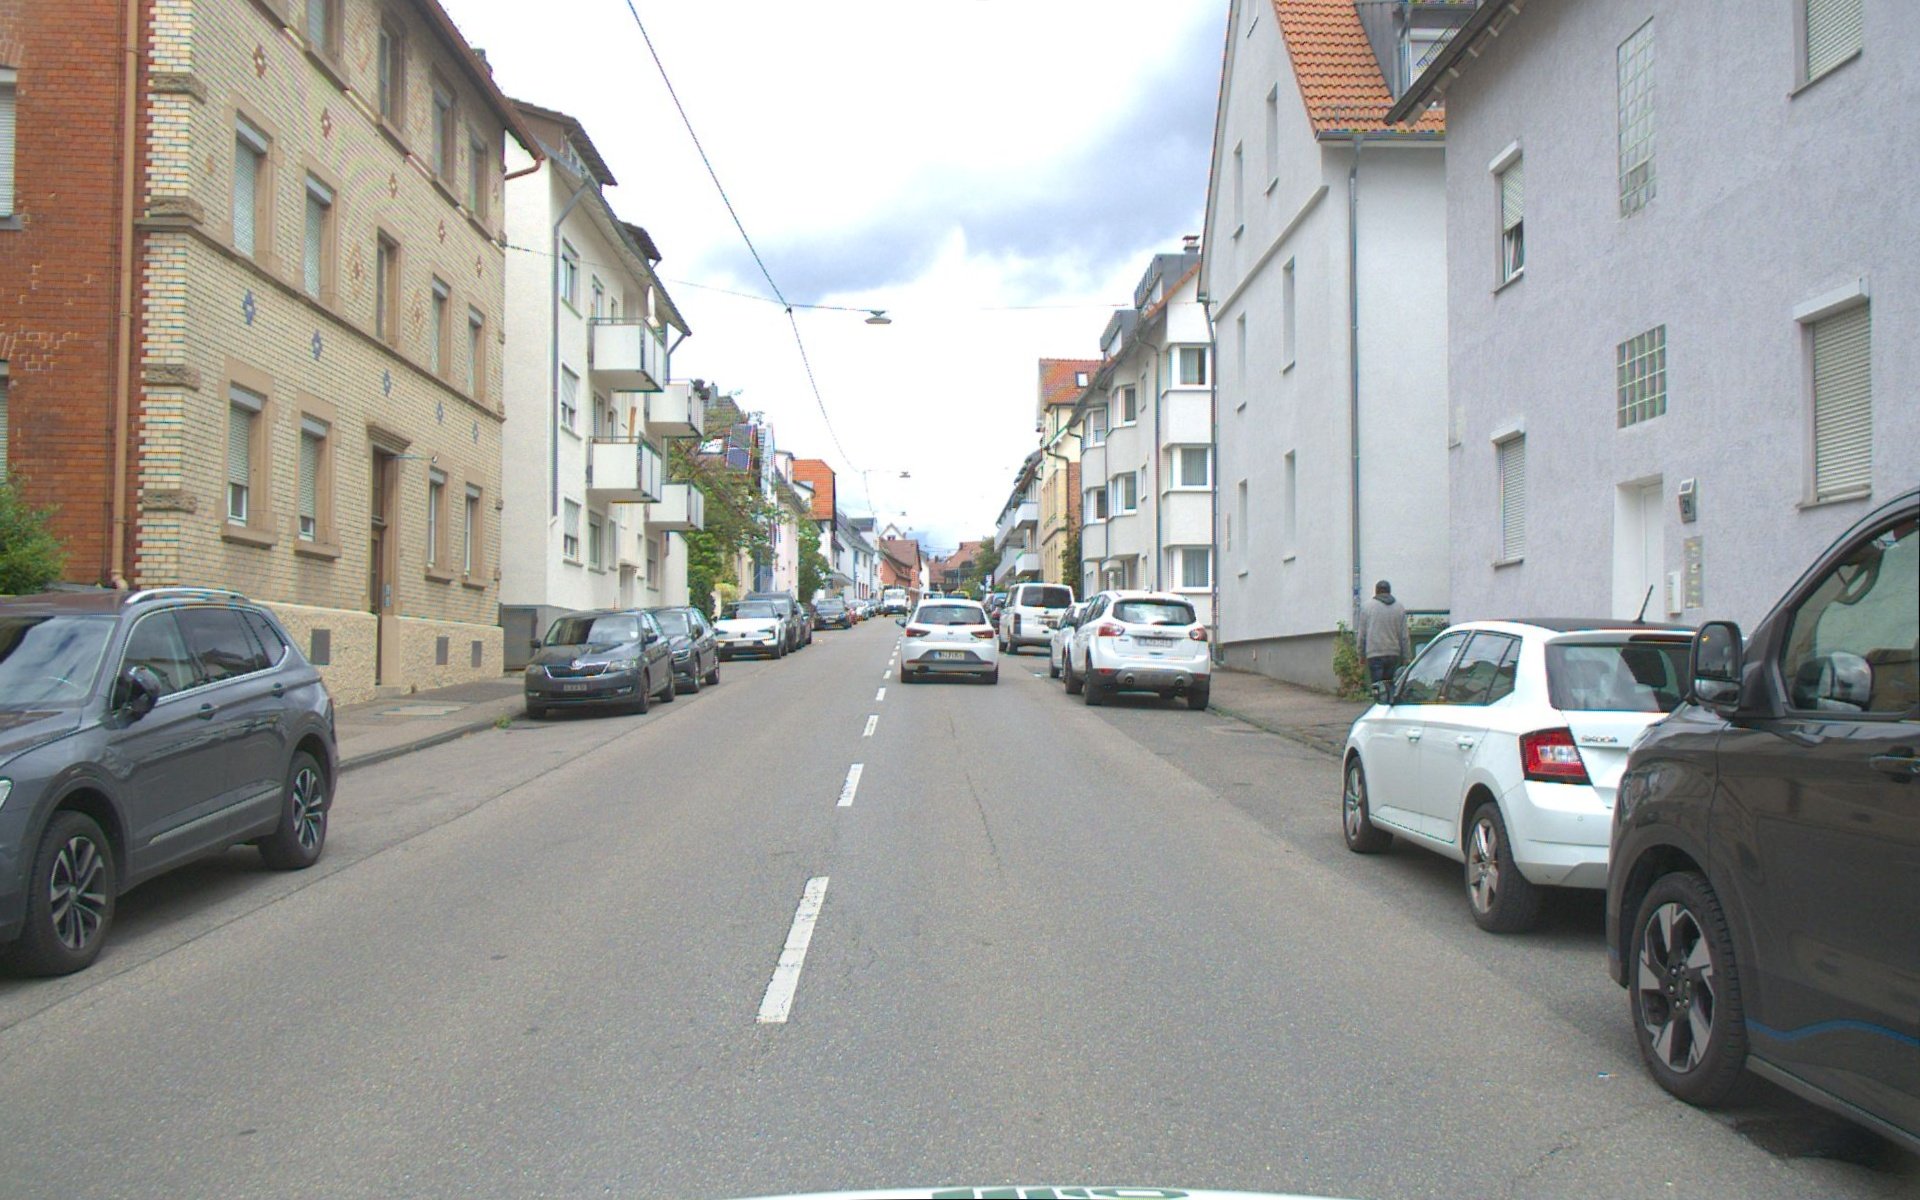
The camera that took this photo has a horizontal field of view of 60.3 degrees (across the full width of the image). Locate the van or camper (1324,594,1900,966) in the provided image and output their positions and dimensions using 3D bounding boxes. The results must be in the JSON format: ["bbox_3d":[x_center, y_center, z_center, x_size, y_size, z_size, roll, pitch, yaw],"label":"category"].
[{"bbox_3d":[3.295,0.786,9.234,1.570,1.570,4.000,2,0,0],"label":"van or camper"}]

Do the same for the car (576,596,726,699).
[{"bbox_3d":[-5.318,0.765,28.921,1.953,1.680,3.999,0,0,-1],"label":"car"}]

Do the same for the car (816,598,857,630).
[{"bbox_3d":[-6.544,0.737,88.123,1.953,1.680,4.178,0,0,-1],"label":"car"}]

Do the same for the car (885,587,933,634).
[{"bbox_3d":[-2.352,0.460,75.365,2.109,2.049,3.998,1,0,-2],"label":"car"}]

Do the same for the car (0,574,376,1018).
[{"bbox_3d":[-4.727,0.788,8.446,1.954,1.679,4.551,-3,0,-2],"label":"car"}]

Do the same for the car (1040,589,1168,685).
[{"bbox_3d":[2.723,0.676,32.092,1.902,1.722,3.997,1,0,-4],"label":"car"}]

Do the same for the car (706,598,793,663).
[{"bbox_3d":[-5.641,0.793,44.764,1.953,1.680,3.999,0,0,-1],"label":"car"}]

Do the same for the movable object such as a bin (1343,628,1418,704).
[{"bbox_3d":[6.246,0.971,24.646,0.869,1.080,1.217,0,0,3],"label":"movable object such as a bin"}]

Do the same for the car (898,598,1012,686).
[{"bbox_3d":[-0.161,0.711,29.863,1.901,1.464,3.998,1,0,-2],"label":"car"}]

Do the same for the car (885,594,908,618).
[{"bbox_3d":[-5.421,0.493,141.781,1.953,2.049,3.999,0,0,-1],"label":"car"}]

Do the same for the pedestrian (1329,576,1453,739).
[{"bbox_3d":[4.969,0.640,19.175,0.957,1.769,1.533,-3,0,-1],"label":"pedestrian"}]

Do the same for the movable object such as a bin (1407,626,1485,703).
[{"bbox_3d":[7.198,0.942,24.543,0.869,1.080,1.217,0,0,3],"label":"movable object such as a bin"}]

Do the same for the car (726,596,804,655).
[{"bbox_3d":[-5.801,0.726,49.613,1.953,1.680,3.999,0,0,-1],"label":"car"}]

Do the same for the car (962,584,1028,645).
[{"bbox_3d":[1.189,0.479,58.121,1.954,2.049,3.996,0,0,-4],"label":"car"}]

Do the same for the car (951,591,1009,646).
[{"bbox_3d":[0.745,0.698,64.817,1.954,2.049,3.996,0,0,-4],"label":"car"}]

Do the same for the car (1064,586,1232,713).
[{"bbox_3d":[2.797,0.702,25.471,1.902,1.722,3.998,3,0,-3],"label":"car"}]

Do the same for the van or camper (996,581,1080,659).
[{"bbox_3d":[2.190,0.540,47.443,1.902,2.091,4.559,1,0,-4],"label":"van or camper"}]

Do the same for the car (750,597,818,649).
[{"bbox_3d":[-5.930,0.745,56.166,1.953,1.680,3.999,0,0,-1],"label":"car"}]

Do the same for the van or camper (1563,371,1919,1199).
[{"bbox_3d":[3.312,0.539,3.099,1.953,2.101,5.942,3,0,-2],"label":"van or camper"}]

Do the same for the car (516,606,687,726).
[{"bbox_3d":[-5.129,0.890,24.138,1.609,1.499,4.178,-3,0,-1],"label":"car"}]
